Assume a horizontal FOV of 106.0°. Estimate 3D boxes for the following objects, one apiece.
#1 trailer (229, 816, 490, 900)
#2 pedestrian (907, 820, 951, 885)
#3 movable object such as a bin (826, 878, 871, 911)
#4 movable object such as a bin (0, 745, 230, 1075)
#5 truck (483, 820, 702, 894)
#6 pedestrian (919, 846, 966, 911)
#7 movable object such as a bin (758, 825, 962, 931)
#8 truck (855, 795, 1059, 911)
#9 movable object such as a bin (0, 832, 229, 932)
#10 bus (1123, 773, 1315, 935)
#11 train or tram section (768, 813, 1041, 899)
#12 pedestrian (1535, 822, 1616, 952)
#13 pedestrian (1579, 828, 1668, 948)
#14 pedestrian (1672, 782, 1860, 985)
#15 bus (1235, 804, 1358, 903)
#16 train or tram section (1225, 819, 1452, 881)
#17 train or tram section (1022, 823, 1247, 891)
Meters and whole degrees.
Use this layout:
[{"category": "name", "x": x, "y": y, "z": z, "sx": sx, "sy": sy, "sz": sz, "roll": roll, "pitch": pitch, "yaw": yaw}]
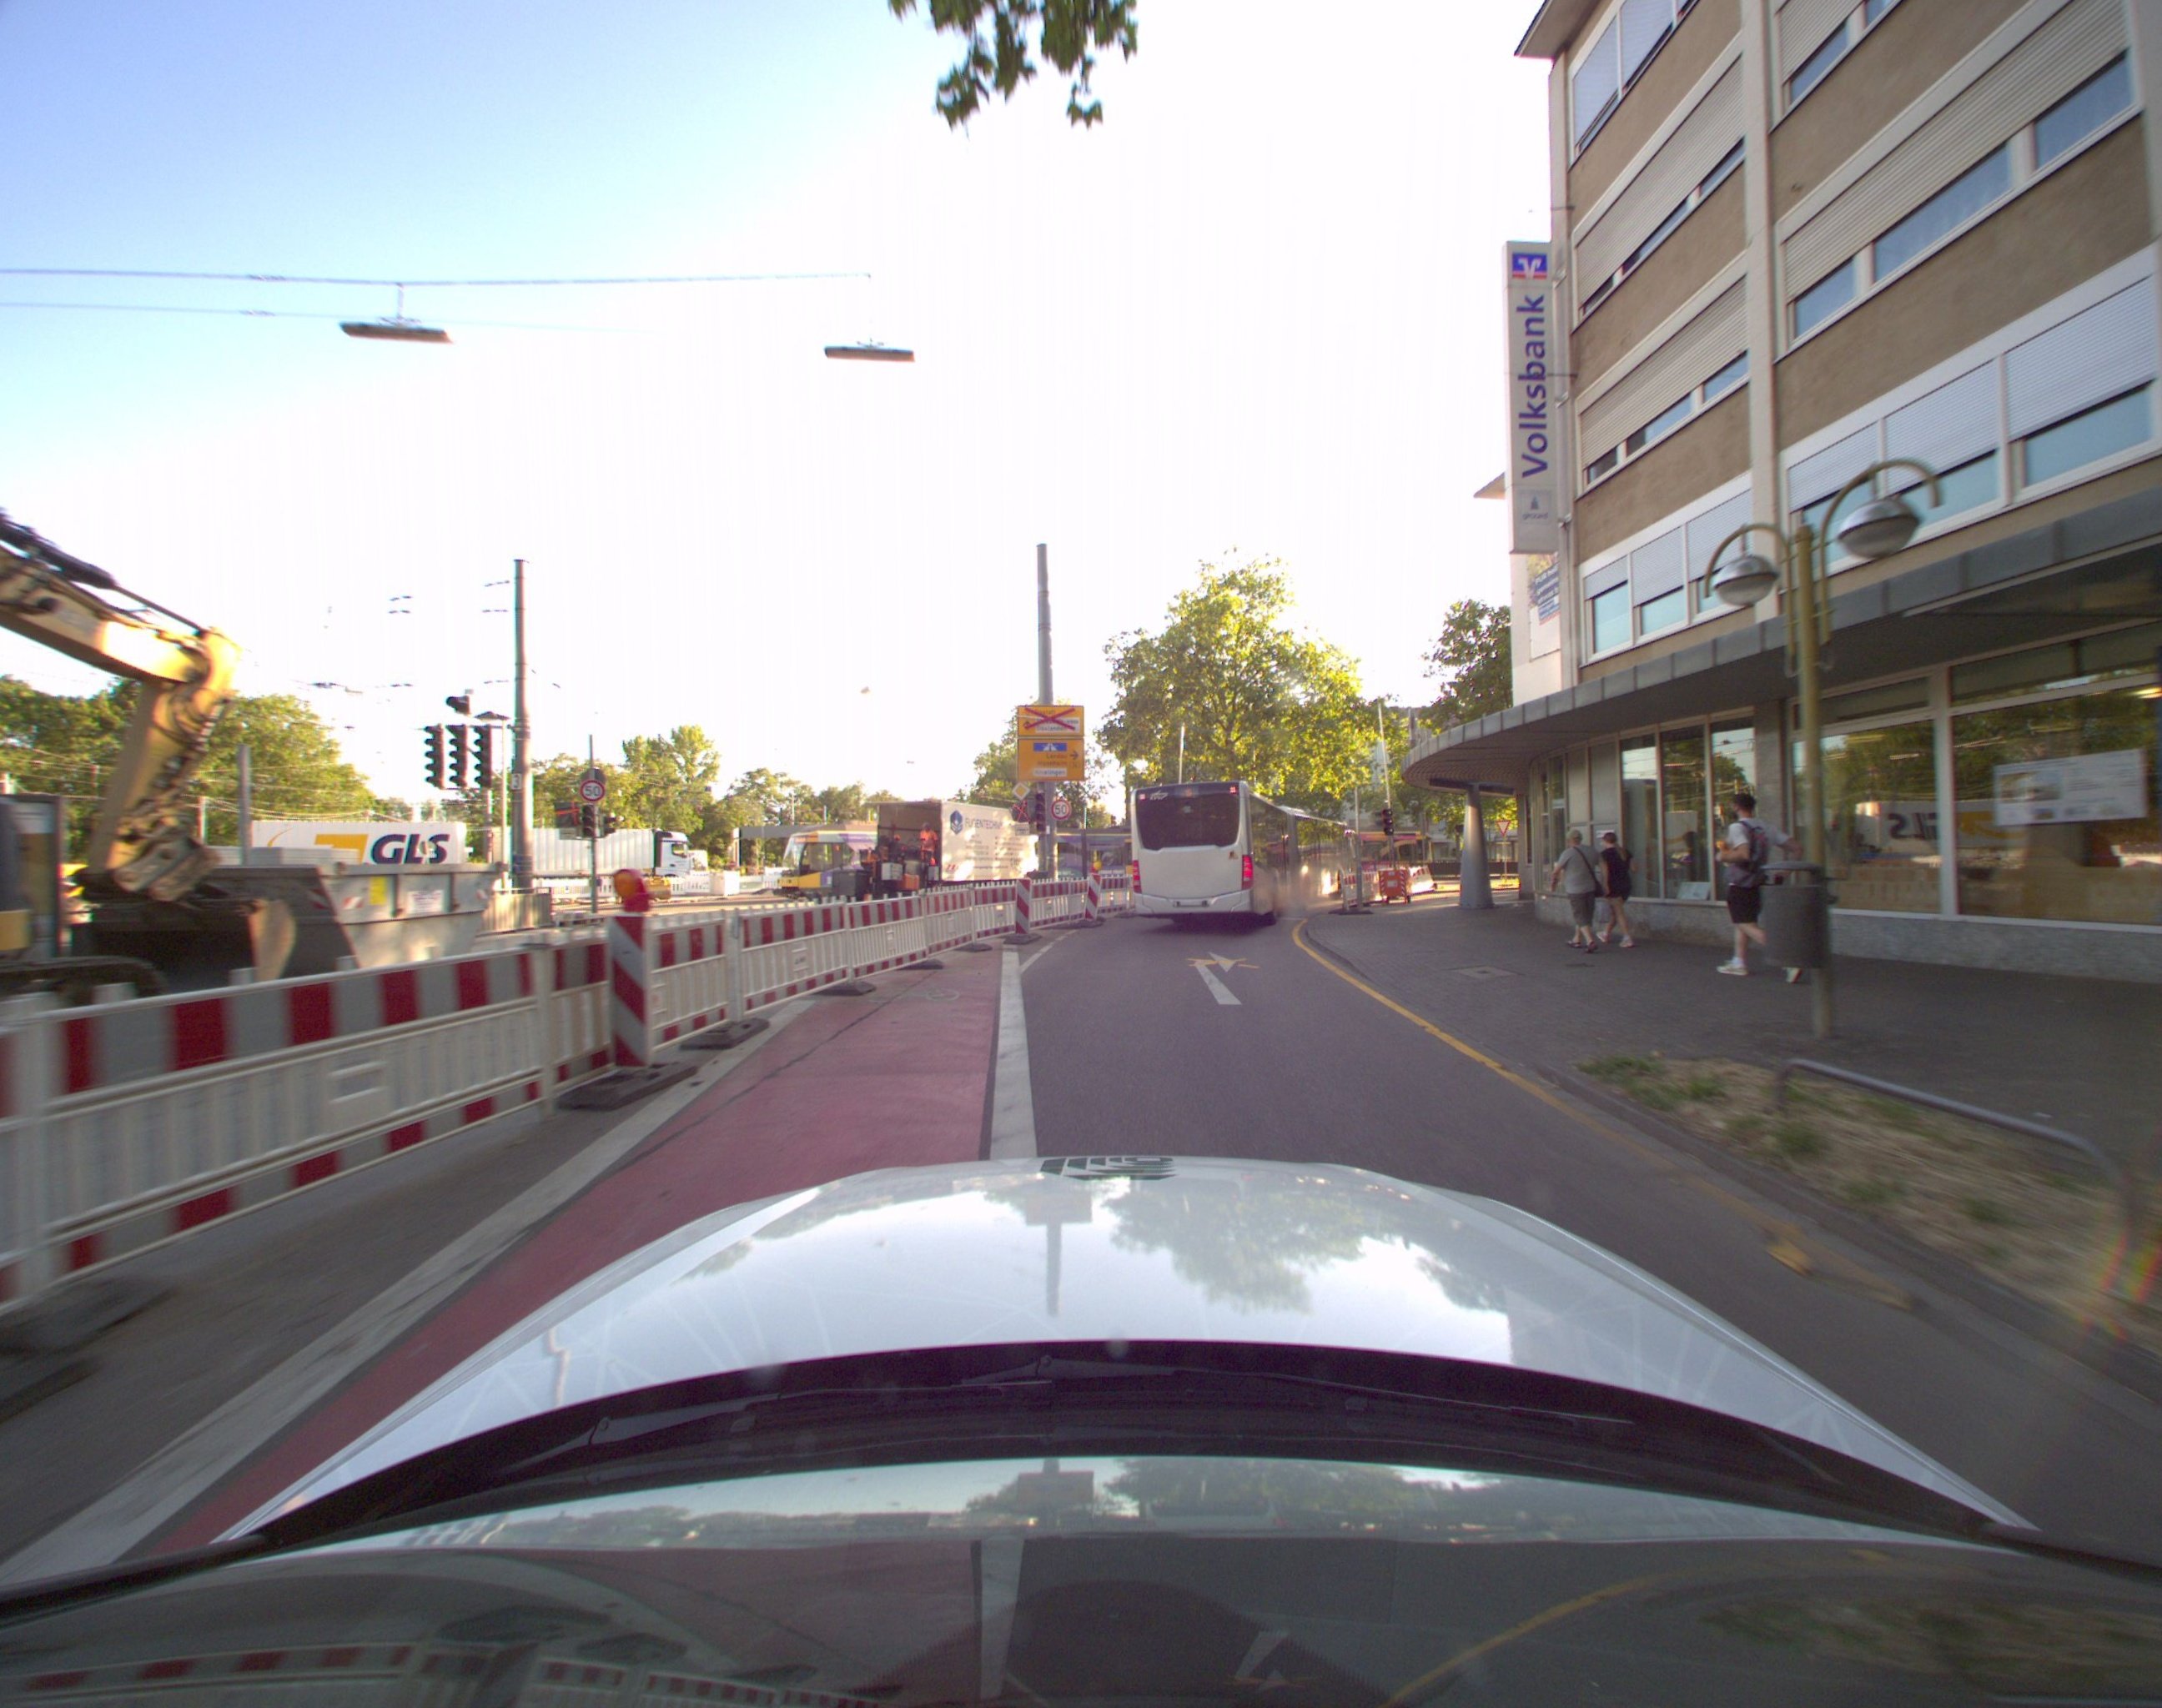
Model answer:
[{"category": "trailer", "x": -35.245, "y": 0.161, "z": 40.432, "sx": 9.278, "sy": 3.797, "sz": 2.867, "roll": 0, "pitch": 0, "yaw": -32}, {"category": "pedestrian", "x": -4.821, "y": -0.048, "z": 25.892, "sx": 0.928, "sy": 2.013, "sz": 1.007, "roll": -1, "pitch": 1, "yaw": 22}, {"category": "movable object such as a bin", "x": -6.906, "y": 1.188, "z": 24.275, "sx": 0.930, "sy": 0.917, "sz": 1.419, "roll": -1, "pitch": -1, "yaw": -1}, {"category": "movable object such as a bin", "x": -8.787, "y": 0.395, "z": 4.867, "sx": 2.642, "sy": 2.318, "sz": 4.887, "roll": 0, "pitch": 0, "yaw": -9}, {"category": "truck", "x": -27.817, "y": 0.185, "z": 47.004, "sx": 2.864, "sy": 3.790, "sz": 10.496, "roll": -2, "pitch": -1, "yaw": 43}, {"category": "pedestrian", "x": -3.917, "y": 0.681, "z": 23.080, "sx": 0.965, "sy": 1.798, "sz": 1.074, "roll": -1, "pitch": -1, "yaw": 14}, {"category": "movable object such as a bin", "x": -5.211, "y": 0.500, "z": 20.131, "sx": 1.976, "sy": 2.256, "sz": 5.237, "roll": 1, "pitch": 0, "yaw": 24}, {"category": "truck", "x": -4.022, "y": -0.019, "z": 29.420, "sx": 2.787, "sy": 3.541, "sz": 9.034, "roll": -1, "pitch": 0, "yaw": 24}, {"category": "movable object such as a bin", "x": -28.581, "y": 0.762, "z": 23.986, "sx": 2.145, "sy": 2.639, "sz": 4.596, "roll": -1, "pitch": 0, "yaw": -1}, {"category": "bus", "x": 4.145, "y": 0.007, "z": 21.323, "sx": 2.710, "sy": 3.139, "sz": 10.760, "roll": -1, "pitch": 0, "yaw": 22}, {"category": "train or tram section", "x": -7.861, "y": 0.146, "z": 39.192, "sx": 13.473, "sy": 3.533, "sz": 2.823, "roll": 0, "pitch": -2, "yaw": -45}, {"category": "pedestrian", "x": 6.839, "y": 0.442, "z": 11.286, "sx": 0.581, "sy": 1.708, "sz": 0.678, "roll": -4, "pitch": 0, "yaw": -3}, {"category": "pedestrian", "x": 7.485, "y": 0.453, "z": 11.268, "sx": 0.631, "sy": 1.573, "sz": 0.773, "roll": -3, "pitch": 0, "yaw": -3}, {"category": "pedestrian", "x": 6.966, "y": 0.282, "z": 8.354, "sx": 0.836, "sy": 1.869, "sz": 1.098, "roll": -5, "pitch": 0, "yaw": -3}, {"category": "bus", "x": 8.257, "y": -0.006, "z": 30.199, "sx": 2.683, "sy": 3.107, "sz": 9.032, "roll": -1, "pitch": 0, "yaw": 26}, {"category": "train or tram section", "x": 15.525, "y": -0.242, "z": 49.314, "sx": 13.278, "sy": 3.519, "sz": 2.642, "roll": 0, "pitch": -1, "yaw": -8}, {"category": "train or tram section", "x": 3.151, "y": 0.156, "z": 46.311, "sx": 12.786, "sy": 3.549, "sz": 2.719, "roll": 0, "pitch": -1, "yaw": -21}]
